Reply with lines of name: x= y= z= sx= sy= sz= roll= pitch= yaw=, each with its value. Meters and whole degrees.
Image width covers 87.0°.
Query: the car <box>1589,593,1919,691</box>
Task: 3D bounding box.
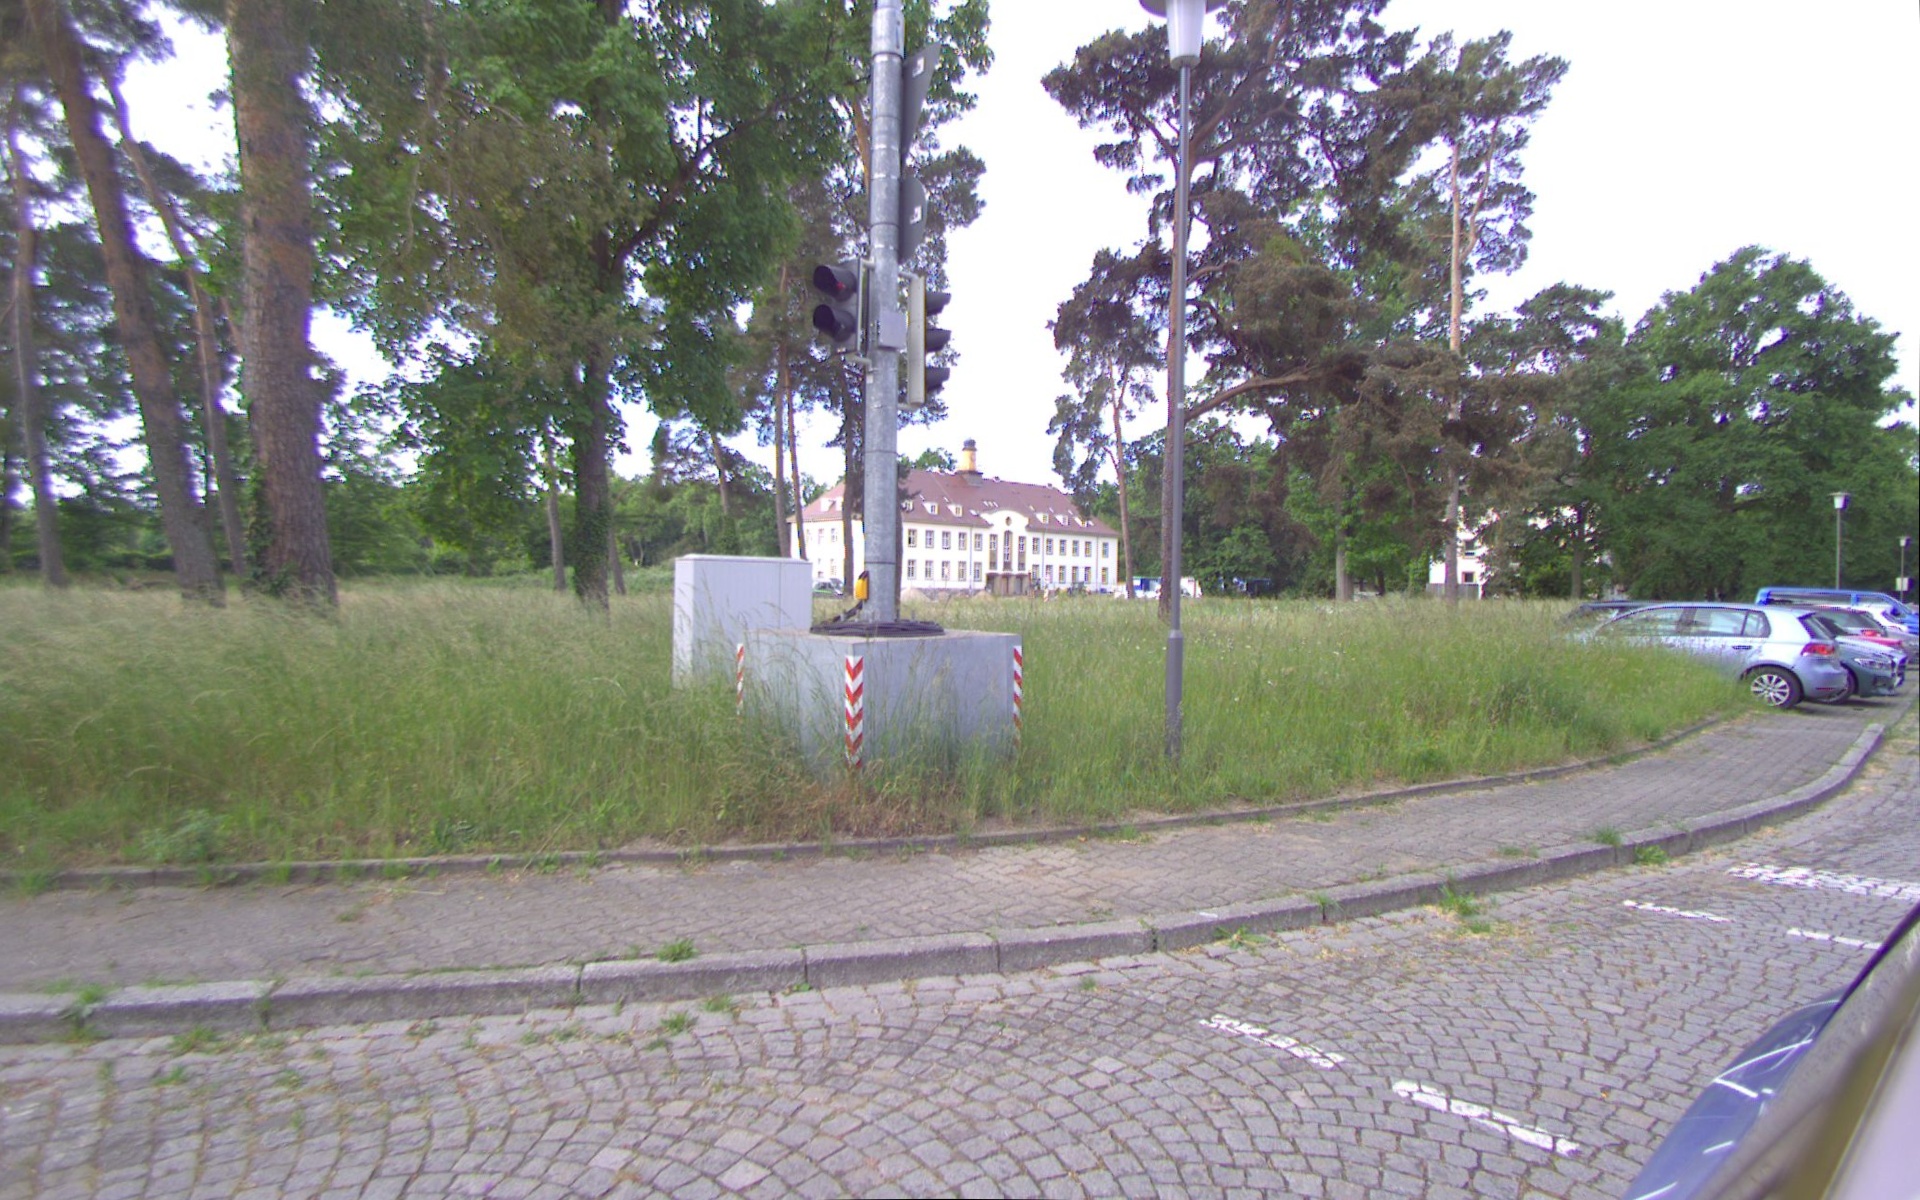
car: x=14.682 y=0.666 z=18.818 sx=1.782 sy=1.501 sz=4.763 roll=0 pitch=1 yaw=-43

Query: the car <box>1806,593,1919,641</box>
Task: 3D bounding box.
car: x=34.039 y=0.594 z=37.441 sx=1.966 sy=1.630 sz=3.992 roll=0 pitch=1 yaw=-43

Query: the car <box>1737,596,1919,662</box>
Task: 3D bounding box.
car: x=22.125 y=0.675 z=25.429 sx=1.788 sy=1.474 sz=3.847 roll=0 pitch=1 yaw=-40

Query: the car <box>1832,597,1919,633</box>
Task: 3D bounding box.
car: x=41.213 y=0.657 z=44.644 sx=1.966 sy=1.549 sz=3.991 roll=0 pitch=0 yaw=-43

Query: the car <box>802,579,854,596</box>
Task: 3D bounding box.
car: x=-15.116 y=-1.425 z=115.867 sx=6.164 sy=1.882 sz=2.307 roll=2 pitch=1 yaw=38

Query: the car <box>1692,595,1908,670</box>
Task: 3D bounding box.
car: x=19.717 y=0.691 z=23.852 sx=1.770 sy=1.524 sz=3.779 roll=0 pitch=1 yaw=-45

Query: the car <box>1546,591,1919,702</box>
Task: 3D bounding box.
car: x=12.657 y=0.659 z=16.829 sx=4.758 sy=1.501 sz=1.734 roll=2 pitch=1 yaw=44

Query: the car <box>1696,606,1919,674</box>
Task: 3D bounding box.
car: x=18.091 y=0.797 z=21.624 sx=1.469 sy=1.222 sz=3.596 roll=1 pitch=1 yaw=-42

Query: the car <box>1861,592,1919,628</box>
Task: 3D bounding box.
car: x=48.644 y=0.516 z=51.452 sx=1.966 sy=1.784 sz=4.004 roll=0 pitch=1 yaw=-42

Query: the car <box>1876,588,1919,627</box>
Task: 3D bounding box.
car: x=51.930 y=0.419 z=54.267 sx=1.966 sy=2.039 sz=3.993 roll=0 pitch=1 yaw=-42

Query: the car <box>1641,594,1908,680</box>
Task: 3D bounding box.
car: x=16.278 y=0.662 z=20.367 sx=1.769 sy=1.470 sz=3.967 roll=0 pitch=1 yaw=-43

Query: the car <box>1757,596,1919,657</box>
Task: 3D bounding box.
car: x=23.973 y=0.666 z=27.522 sx=1.609 sy=1.470 sz=3.405 roll=0 pitch=1 yaw=-42

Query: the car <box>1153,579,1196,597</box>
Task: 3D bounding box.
car: x=24.721 y=-1.379 z=116.657 sx=5.132 sy=2.039 sz=2.152 roll=0 pitch=1 yaw=-41

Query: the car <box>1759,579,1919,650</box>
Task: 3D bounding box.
car: x=27.833 y=0.418 z=31.207 sx=1.967 sy=1.963 sz=4.743 roll=0 pitch=2 yaw=-43

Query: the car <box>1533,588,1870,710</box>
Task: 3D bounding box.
car: x=10.830 y=0.625 z=14.970 sx=1.579 sy=1.444 sz=3.768 roll=1 pitch=2 yaw=-43
